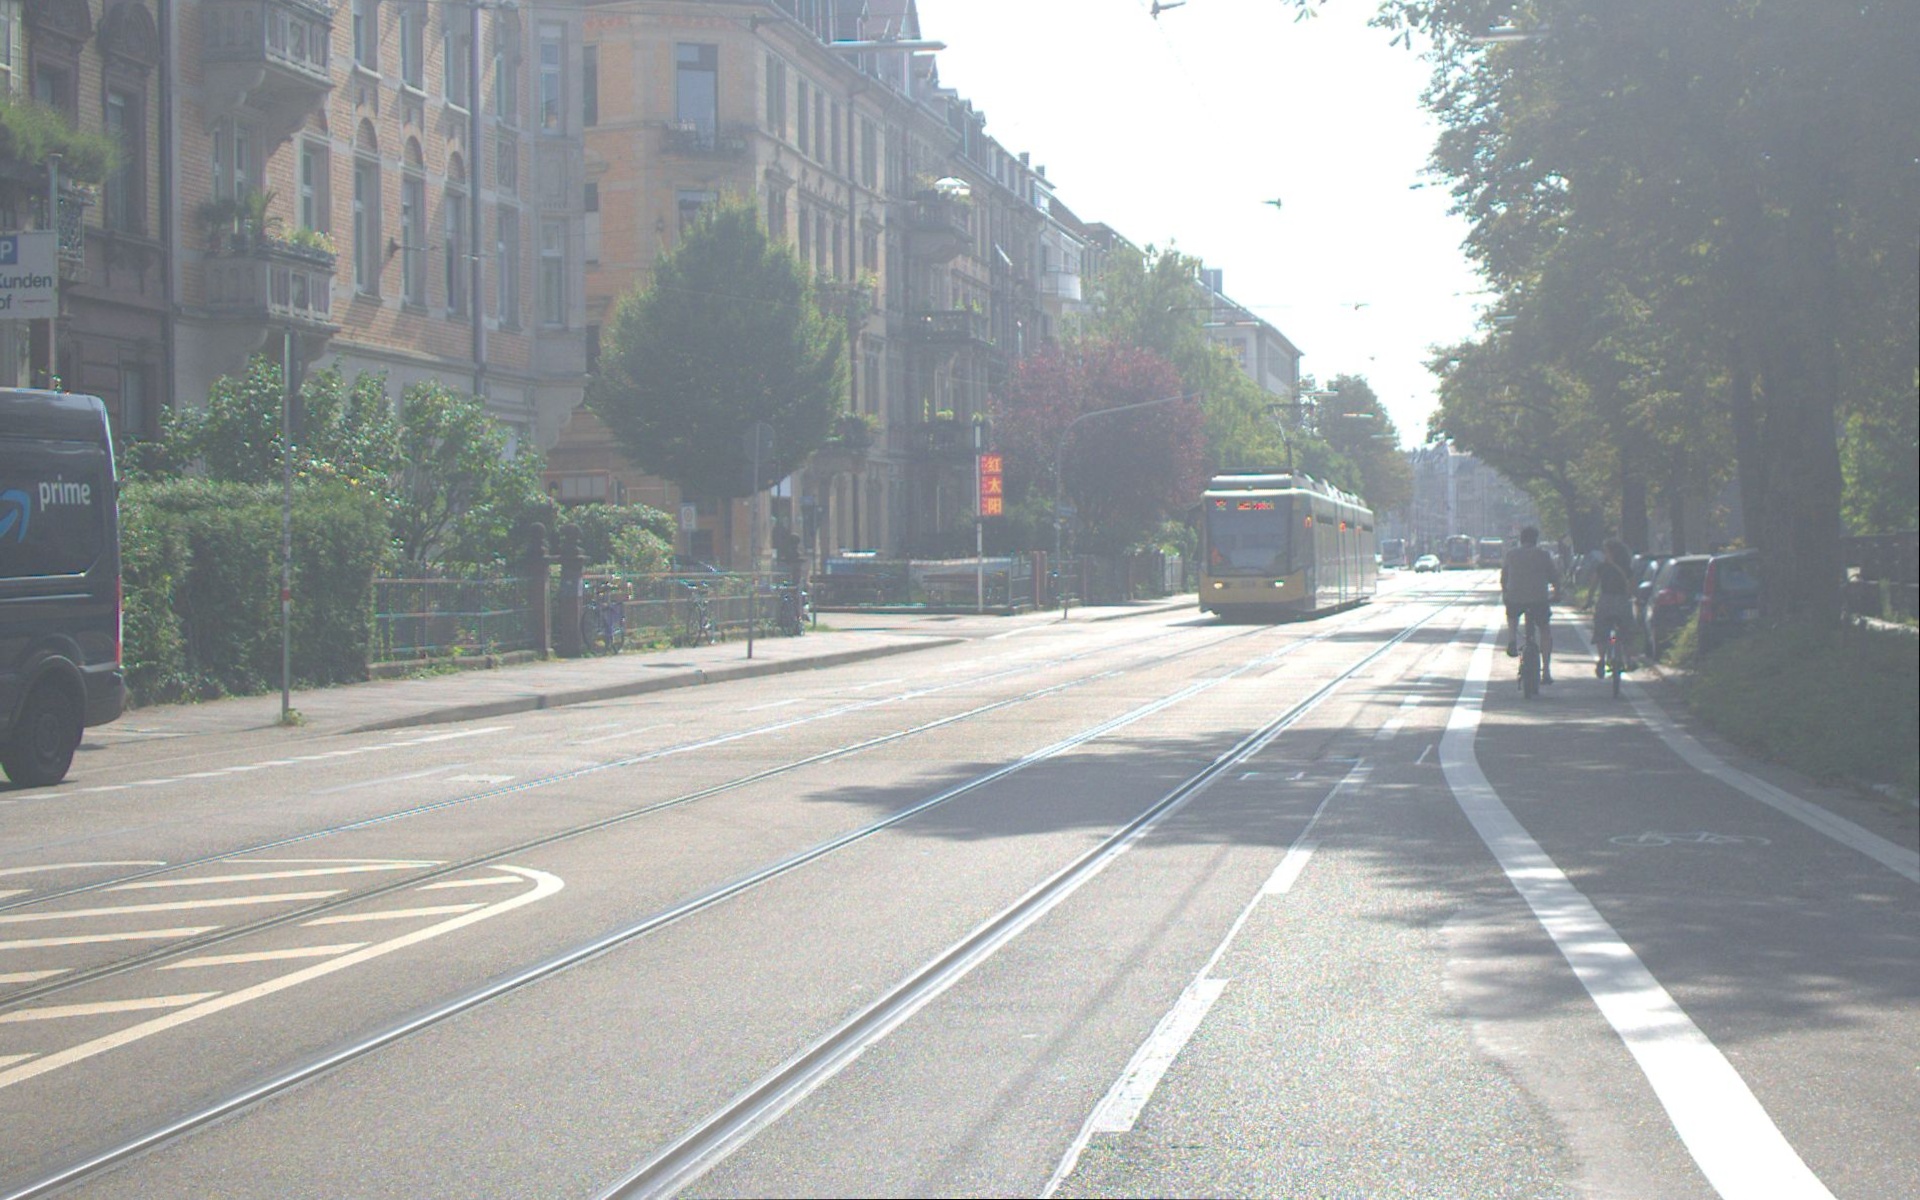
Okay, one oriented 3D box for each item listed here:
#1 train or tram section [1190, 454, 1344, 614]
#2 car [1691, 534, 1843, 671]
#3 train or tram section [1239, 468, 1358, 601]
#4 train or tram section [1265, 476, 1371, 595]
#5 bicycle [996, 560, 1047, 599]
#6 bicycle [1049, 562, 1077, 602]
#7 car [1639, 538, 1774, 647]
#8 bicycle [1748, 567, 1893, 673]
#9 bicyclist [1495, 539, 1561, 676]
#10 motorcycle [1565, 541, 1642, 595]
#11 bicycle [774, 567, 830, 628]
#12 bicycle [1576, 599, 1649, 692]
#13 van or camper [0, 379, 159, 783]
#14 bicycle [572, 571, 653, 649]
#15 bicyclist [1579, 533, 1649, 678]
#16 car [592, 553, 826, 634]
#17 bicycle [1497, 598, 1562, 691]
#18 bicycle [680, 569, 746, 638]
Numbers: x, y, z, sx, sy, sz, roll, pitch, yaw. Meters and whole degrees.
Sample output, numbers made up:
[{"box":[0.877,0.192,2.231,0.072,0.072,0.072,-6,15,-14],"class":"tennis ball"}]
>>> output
[{"box":[7.599,-1.568,83.245,2.735,3.493,15.428,0,1,9],"class":"train or tram section"},{"box":[9.878,0.008,41.925,1.646,1.535,3.839,-2,0,15],"class":"car"},{"box":[9.566,-1.814,96.176,2.735,3.493,10.772,0,1,9],"class":"train or tram section"},{"box":[11.211,-1.980,106.817,2.735,3.493,10.772,0,1,9],"class":"train or tram section"},{"box":[1.716,-0.581,96.076,1.358,1.056,0.417,1,1,7],"class":"bicycle"},{"box":[2.898,-0.524,96.920,0.508,1.104,2.002,-1,0,10],"class":"bicycle"},{"box":[10.750,-0.120,49.697,1.646,1.443,4.244,-2,0,10],"class":"car"},{"box":[8.924,0.197,35.607,1.723,1.069,0.525,-1,1,-39],"class":"bicycle"},{"box":[5.890,0.072,35.682,0.626,1.396,0.929,1,1,9],"class":"bicyclist"},{"box":[20.845,-1.029,111.391,0.911,1.668,2.419,-3,1,-36],"class":"motorcycle"},{"box":[-2.855,-0.050,62.300,0.545,1.054,1.839,3,1,11],"class":"bicycle"},{"box":[6.757,0.462,35.634,0.654,0.906,1.774,1,1,9],"class":"bicycle"},{"box":[-7.532,-0.097,21.733,2.052,2.635,6.085,-1,0,16],"class":"van or camper"},{"box":[-4.993,0.137,49.526,0.607,1.054,1.839,3,1,11],"class":"bicycle"},{"box":[6.769,0.055,35.612,0.654,1.469,0.908,1,1,9],"class":"bicyclist"},{"box":[-4.807,-0.128,66.138,4.138,1.538,2.064,0,0,9],"class":"car"},{"box":[5.902,0.452,35.674,0.626,0.906,1.524,1,1,9],"class":"bicycle"},{"box":[-3.966,0.041,55.366,0.545,1.054,1.839,3,1,11],"class":"bicycle"}]
